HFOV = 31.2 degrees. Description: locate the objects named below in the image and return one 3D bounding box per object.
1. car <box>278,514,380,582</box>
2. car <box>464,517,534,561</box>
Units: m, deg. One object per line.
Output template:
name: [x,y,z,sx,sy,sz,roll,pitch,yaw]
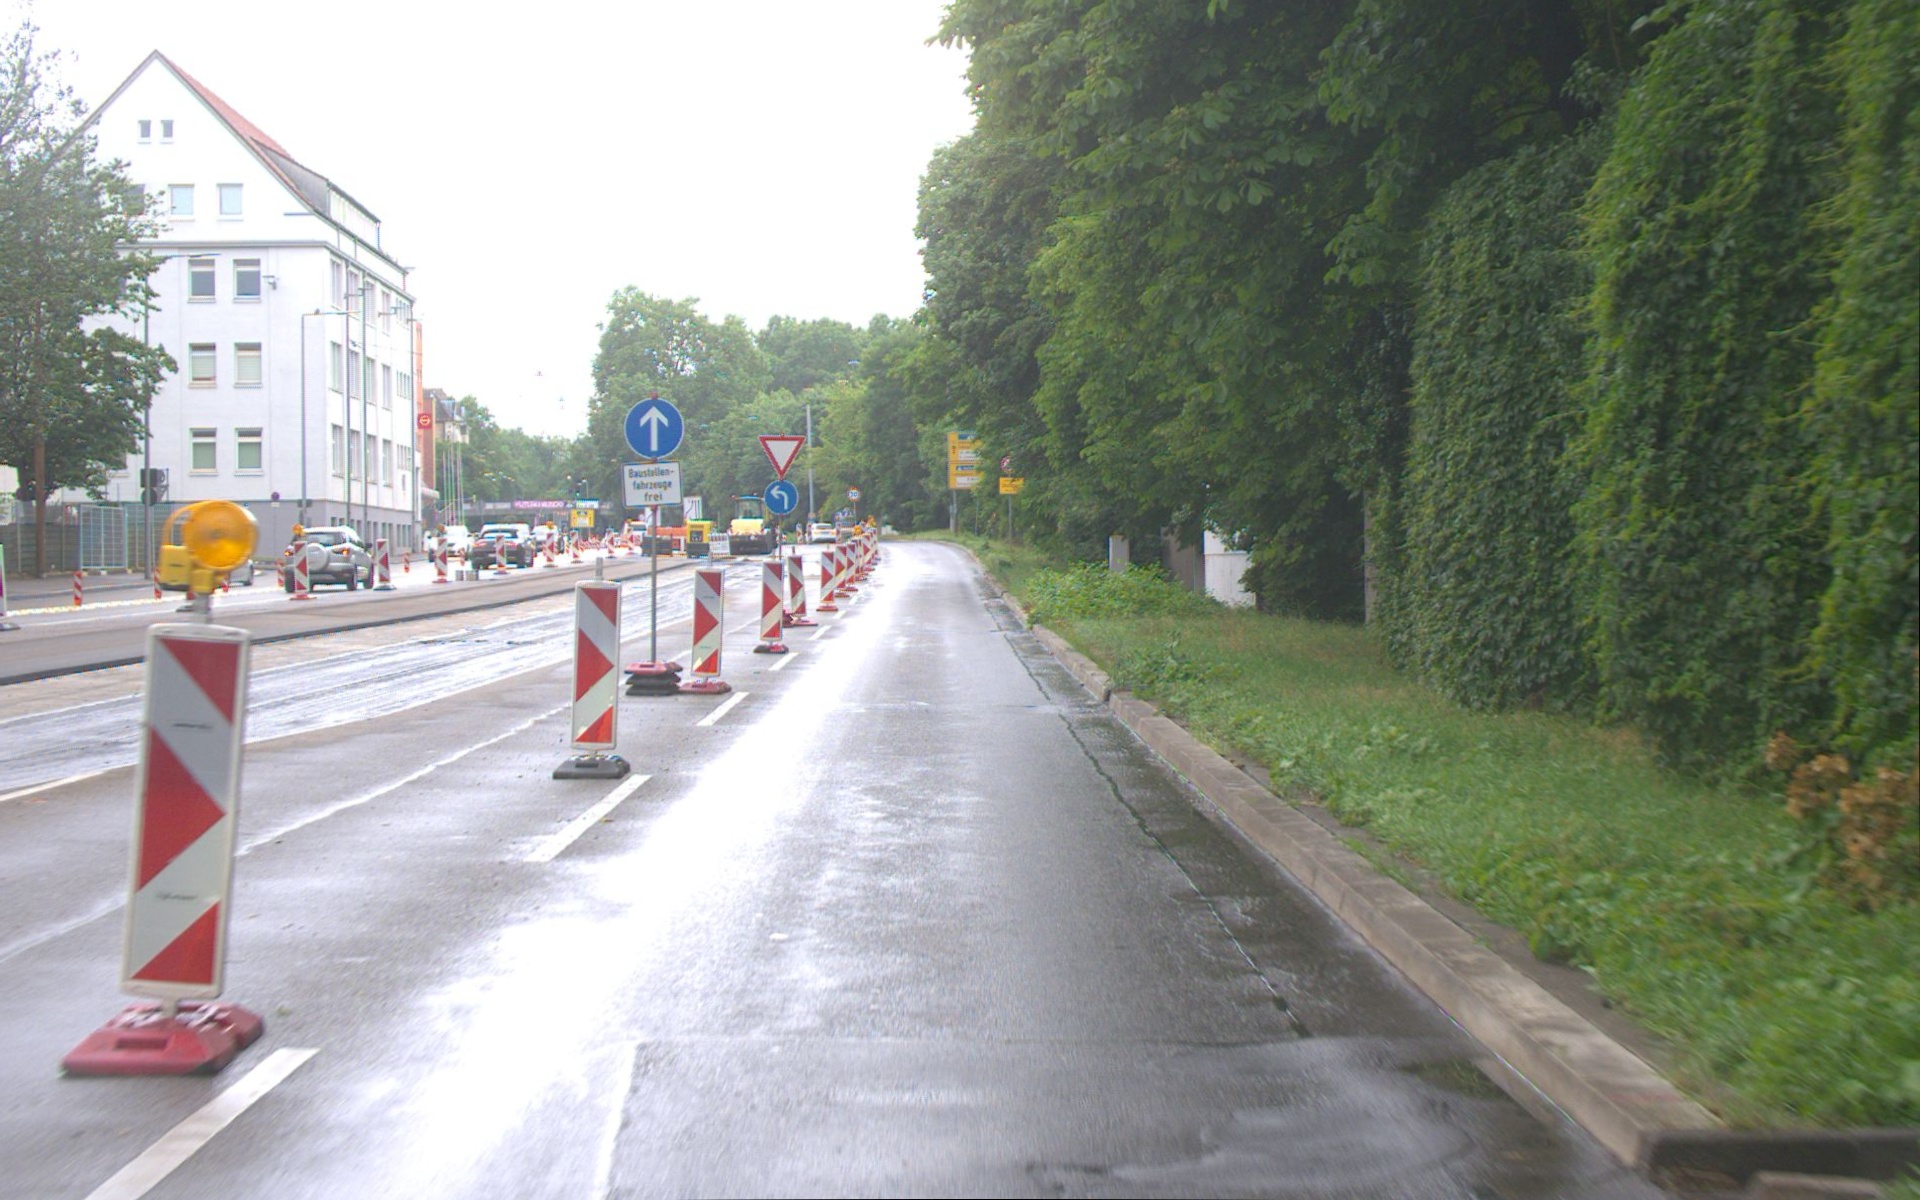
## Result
car: [-15.815,-1.301,86.356,1.854,1.642,4.000,1,1,0]
car: [-16.354,-2.168,122.106,1.993,1.514,4.000,1,1,-1]
